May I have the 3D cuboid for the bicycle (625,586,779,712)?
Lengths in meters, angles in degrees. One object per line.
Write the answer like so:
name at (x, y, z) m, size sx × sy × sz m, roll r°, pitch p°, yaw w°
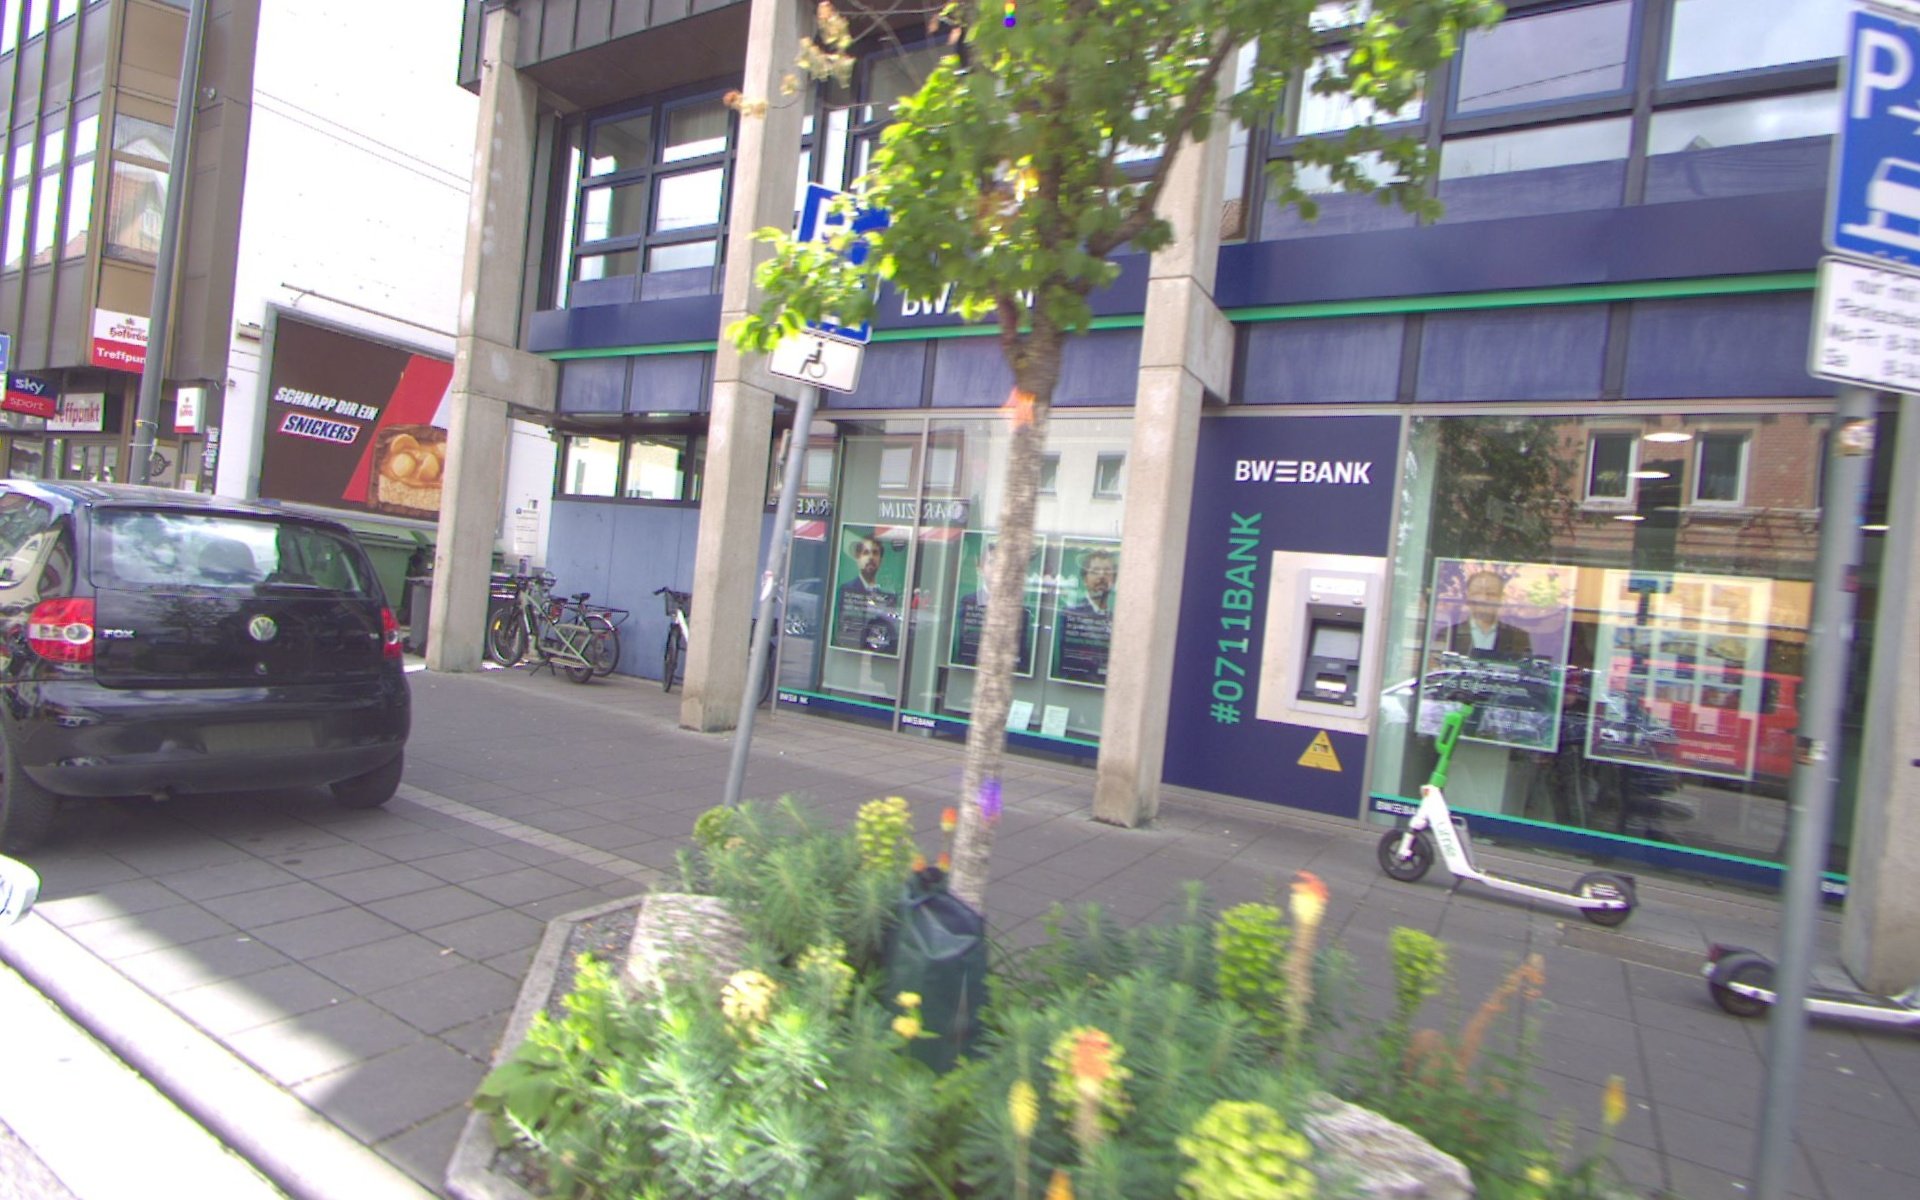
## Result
bicycle at (-2.756, 0.503, 10.656) m, size 1.713 × 1.132 × 0.426 m, roll 6°, pitch -1°, yaw 34°

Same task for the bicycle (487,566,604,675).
bicycle at (-4.937, 0.229, 11.953) m, size 1.478 × 1.132 × 0.426 m, roll 6°, pitch -1°, yaw 34°

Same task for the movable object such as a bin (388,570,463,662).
movable object such as a bin at (-6.320, 0.194, 11.904) m, size 0.545 × 1.011 × 0.487 m, roll 6°, pitch -1°, yaw 34°

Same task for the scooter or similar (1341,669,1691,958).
scooter or similar at (3.035, 1.113, 5.606) m, size 1.535 × 1.260 × 0.422 m, roll 6°, pitch -1°, yaw 31°

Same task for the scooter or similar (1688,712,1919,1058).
scooter or similar at (3.902, 1.186, 4.139) m, size 1.300 × 1.260 × 0.407 m, roll 6°, pitch -1°, yaw 21°

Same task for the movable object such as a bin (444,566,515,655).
movable object such as a bin at (-5.936, 0.131, 12.441) m, size 0.545 × 1.011 × 0.487 m, roll 6°, pitch -1°, yaw 34°

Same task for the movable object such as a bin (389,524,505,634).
movable object such as a bin at (-8.073, -0.322, 15.855) m, size 1.015 × 1.546 × 1.143 m, roll 6°, pitch -1°, yaw 34°

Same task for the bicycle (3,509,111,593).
bicycle at (-13.354, -0.728, 14.868) m, size 1.452 × 1.060 × 0.721 m, roll 6°, pitch -1°, yaw 32°

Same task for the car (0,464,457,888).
car at (-4.567, 0.148, 5.373) m, size 3.733 × 1.552 × 1.610 m, roll 7°, pitch 1°, yaw 33°

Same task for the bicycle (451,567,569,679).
bicycle at (-5.158, 0.247, 11.492) m, size 1.477 × 1.095 × 0.425 m, roll 7°, pitch 2°, yaw 34°

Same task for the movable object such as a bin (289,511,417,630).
movable object such as a bin at (-8.837, -0.416, 14.661) m, size 1.015 × 1.546 × 1.143 m, roll 6°, pitch -1°, yaw 34°
